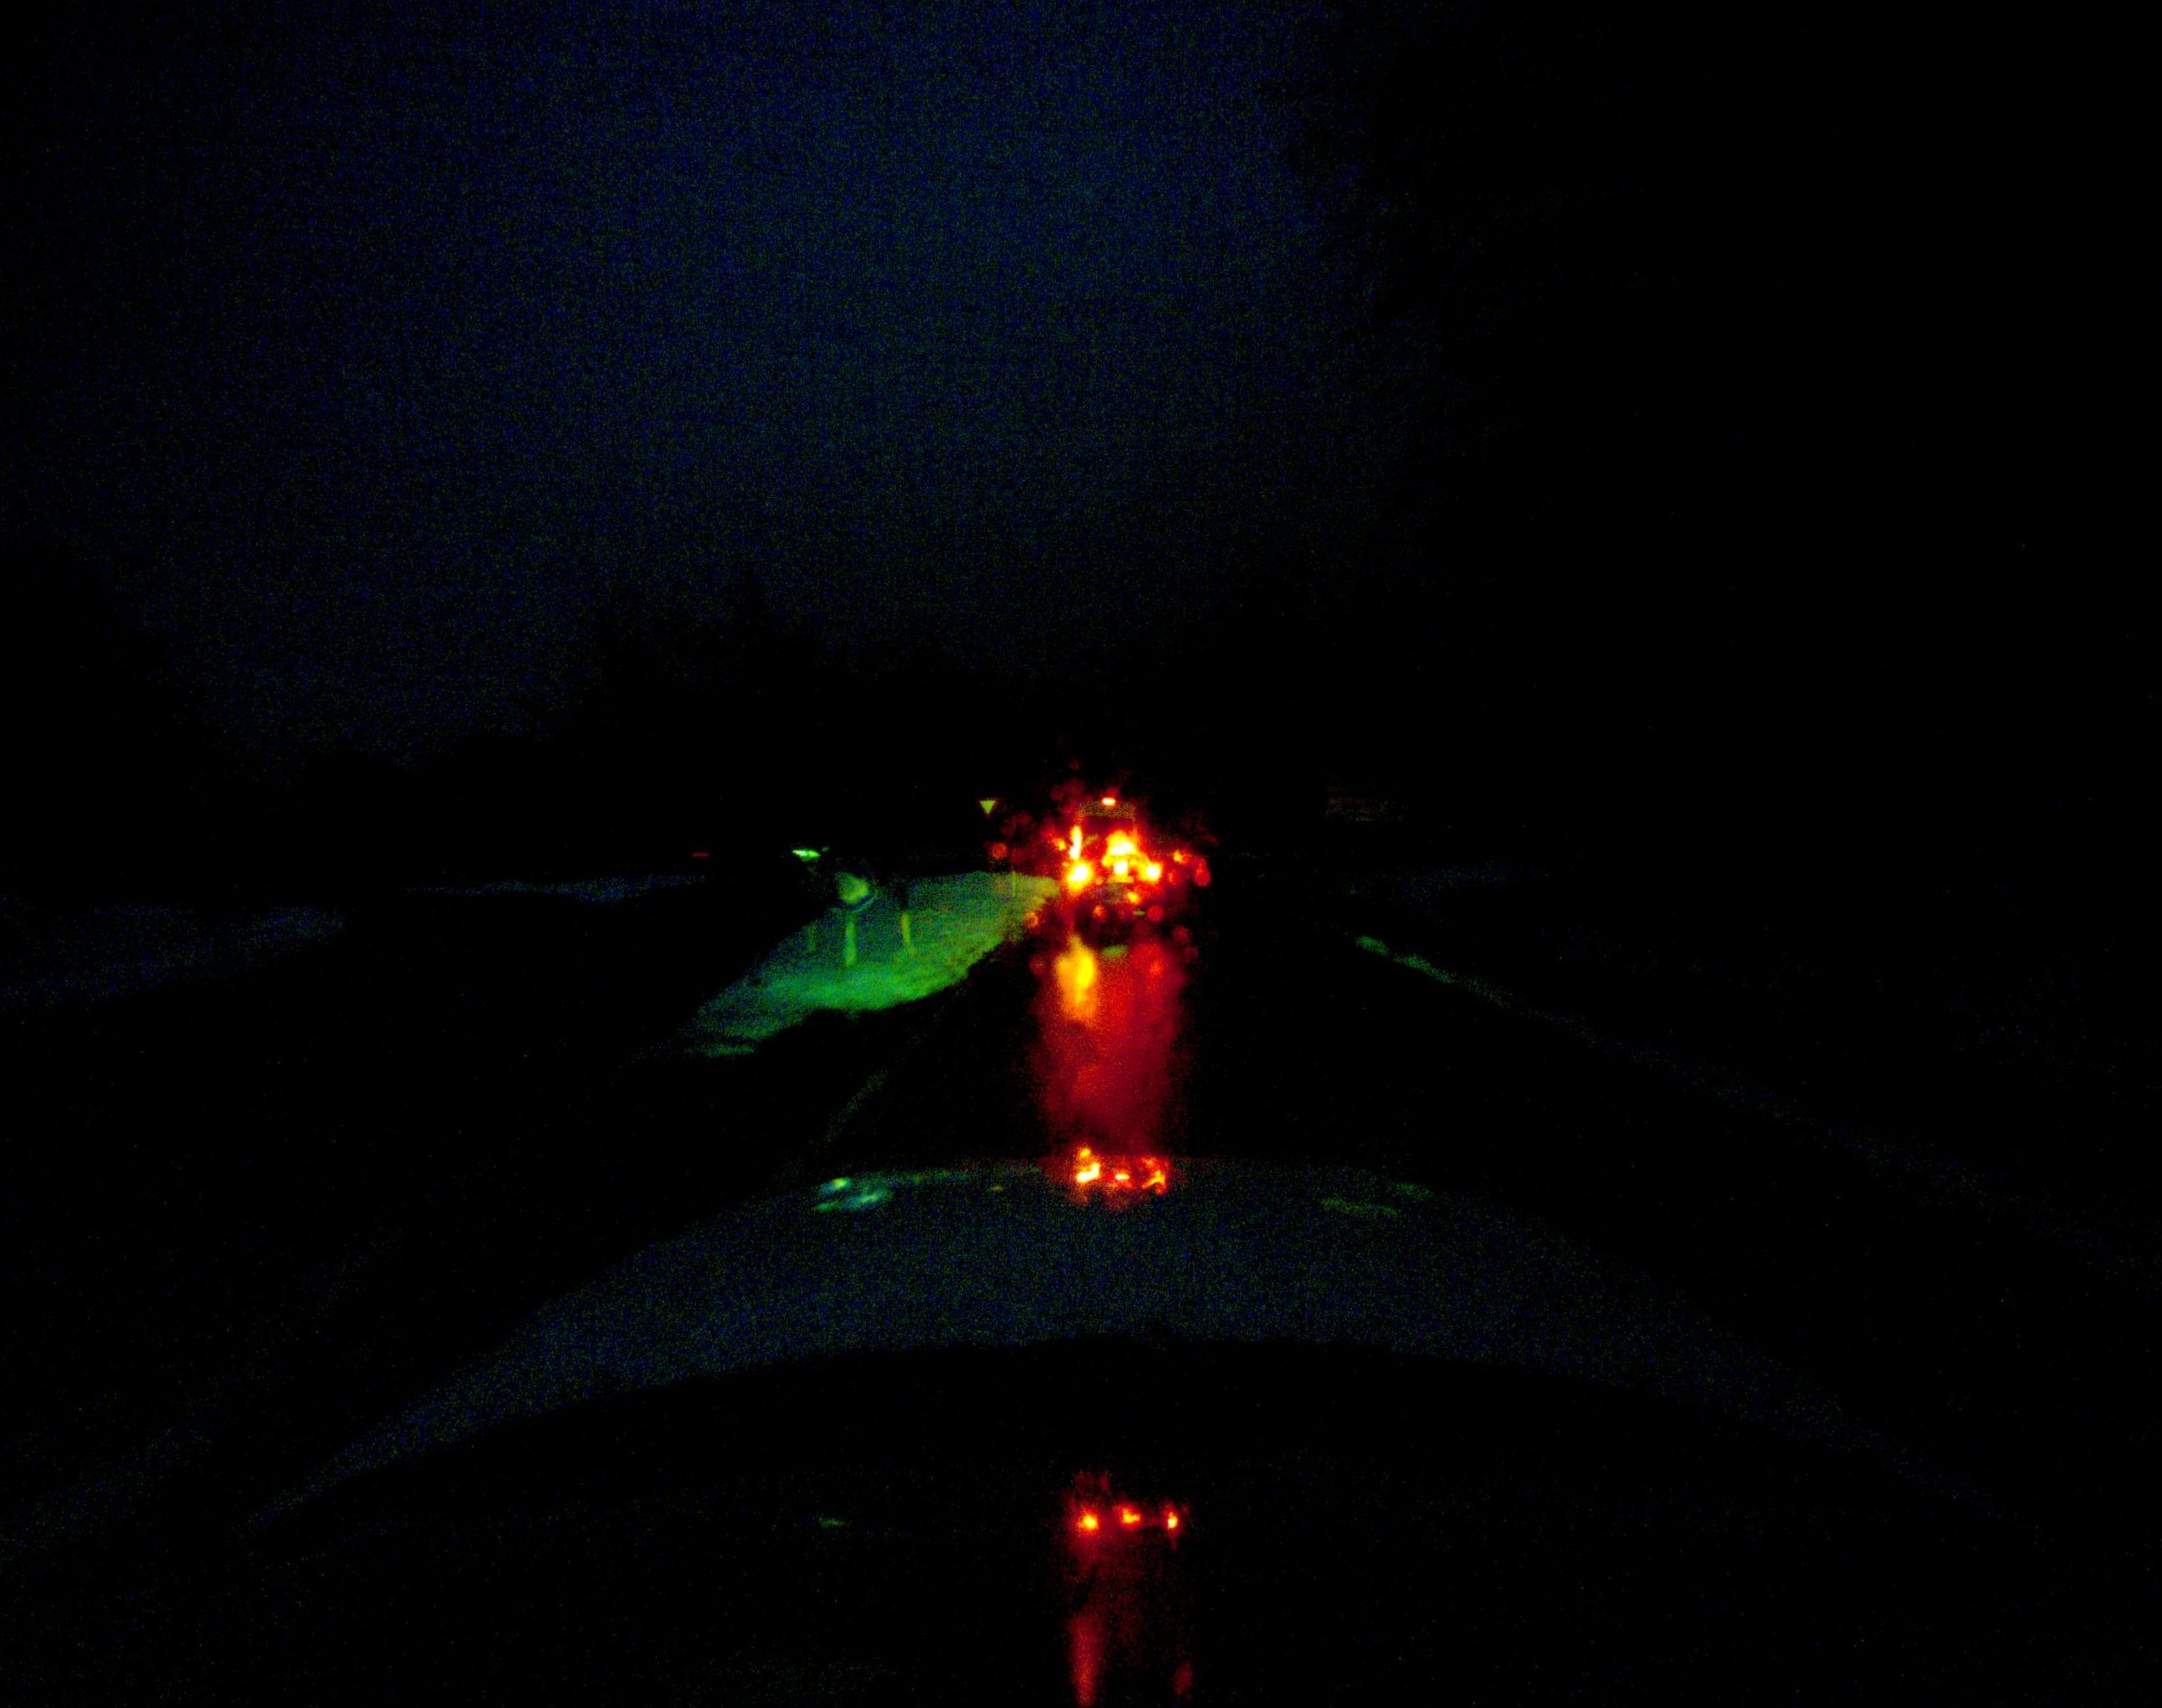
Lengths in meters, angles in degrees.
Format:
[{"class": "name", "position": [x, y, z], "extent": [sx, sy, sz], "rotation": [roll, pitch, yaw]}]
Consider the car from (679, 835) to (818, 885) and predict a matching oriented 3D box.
[{"class": "car", "position": [-13.637, 0.248, 33.675], "extent": [5.003, 1.945, 1.679], "rotation": [0, 0, -10]}]

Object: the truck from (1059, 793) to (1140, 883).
[{"class": "truck", "position": [0.512, -0.515, 27.651], "extent": [2.073, 2.745, 5.308], "rotation": [1, 0, -6]}]

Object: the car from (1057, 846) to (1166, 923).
[{"class": "car", "position": [0.584, 0.521, 16.290], "extent": [1.915, 1.276, 4.002], "rotation": [0, 2, 1]}]
